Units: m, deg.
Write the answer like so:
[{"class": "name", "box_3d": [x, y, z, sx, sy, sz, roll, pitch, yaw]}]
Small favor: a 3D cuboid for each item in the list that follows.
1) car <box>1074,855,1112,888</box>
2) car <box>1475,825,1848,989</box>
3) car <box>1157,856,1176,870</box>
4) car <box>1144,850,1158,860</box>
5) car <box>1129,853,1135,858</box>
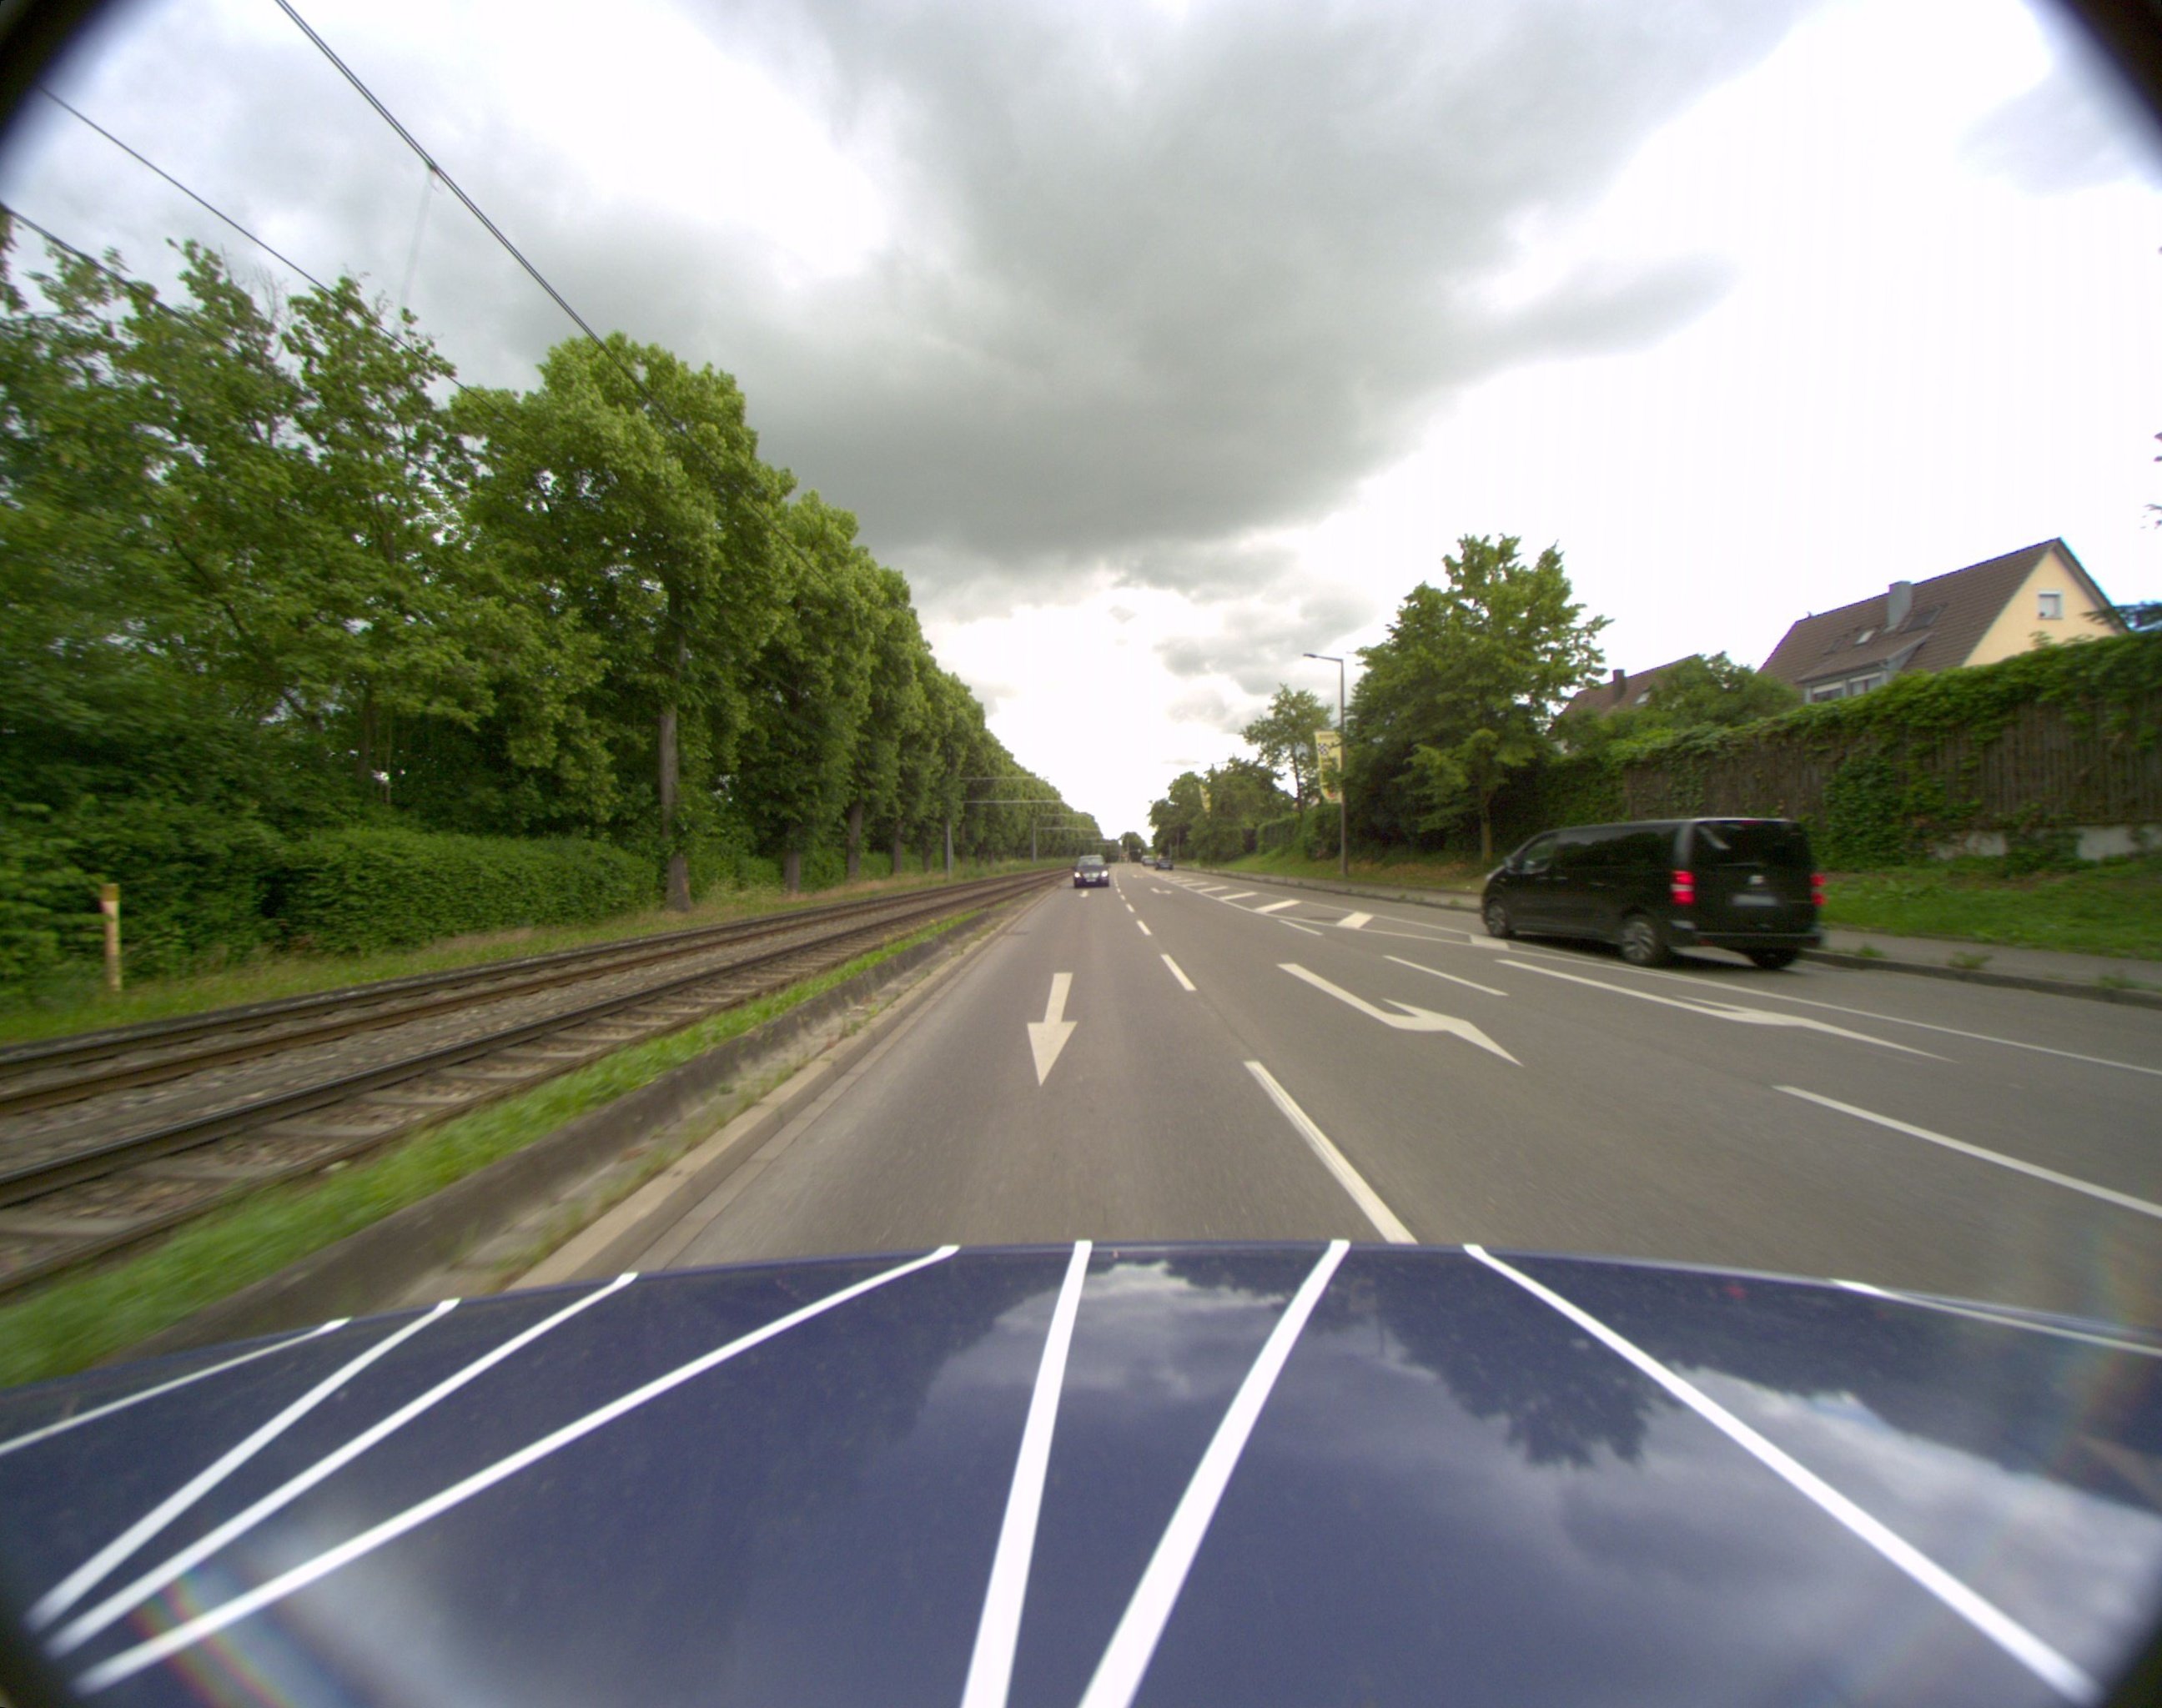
[{"class": "car", "box_3d": [0.651, 0.853, 39.103, 1.807, 1.520, 3.929, -3, 0, 2]}, {"class": "car", "box_3d": [7.926, 0.610, 11.125, 1.808, 1.893, 4.688, 0, 0, -1]}, {"class": "car", "box_3d": [9.298, 1.001, 82.725, 1.657, 1.414, 4.008, 1, 0, 1]}, {"class": "car", "box_3d": [10.995, 0.152, 119.804, 1.807, 1.520, 3.929, -3, 0, 2]}, {"class": "car", "box_3d": [17.494, 0.483, 261.480, 1.807, 1.778, 3.929, -3, 0, 2]}]
